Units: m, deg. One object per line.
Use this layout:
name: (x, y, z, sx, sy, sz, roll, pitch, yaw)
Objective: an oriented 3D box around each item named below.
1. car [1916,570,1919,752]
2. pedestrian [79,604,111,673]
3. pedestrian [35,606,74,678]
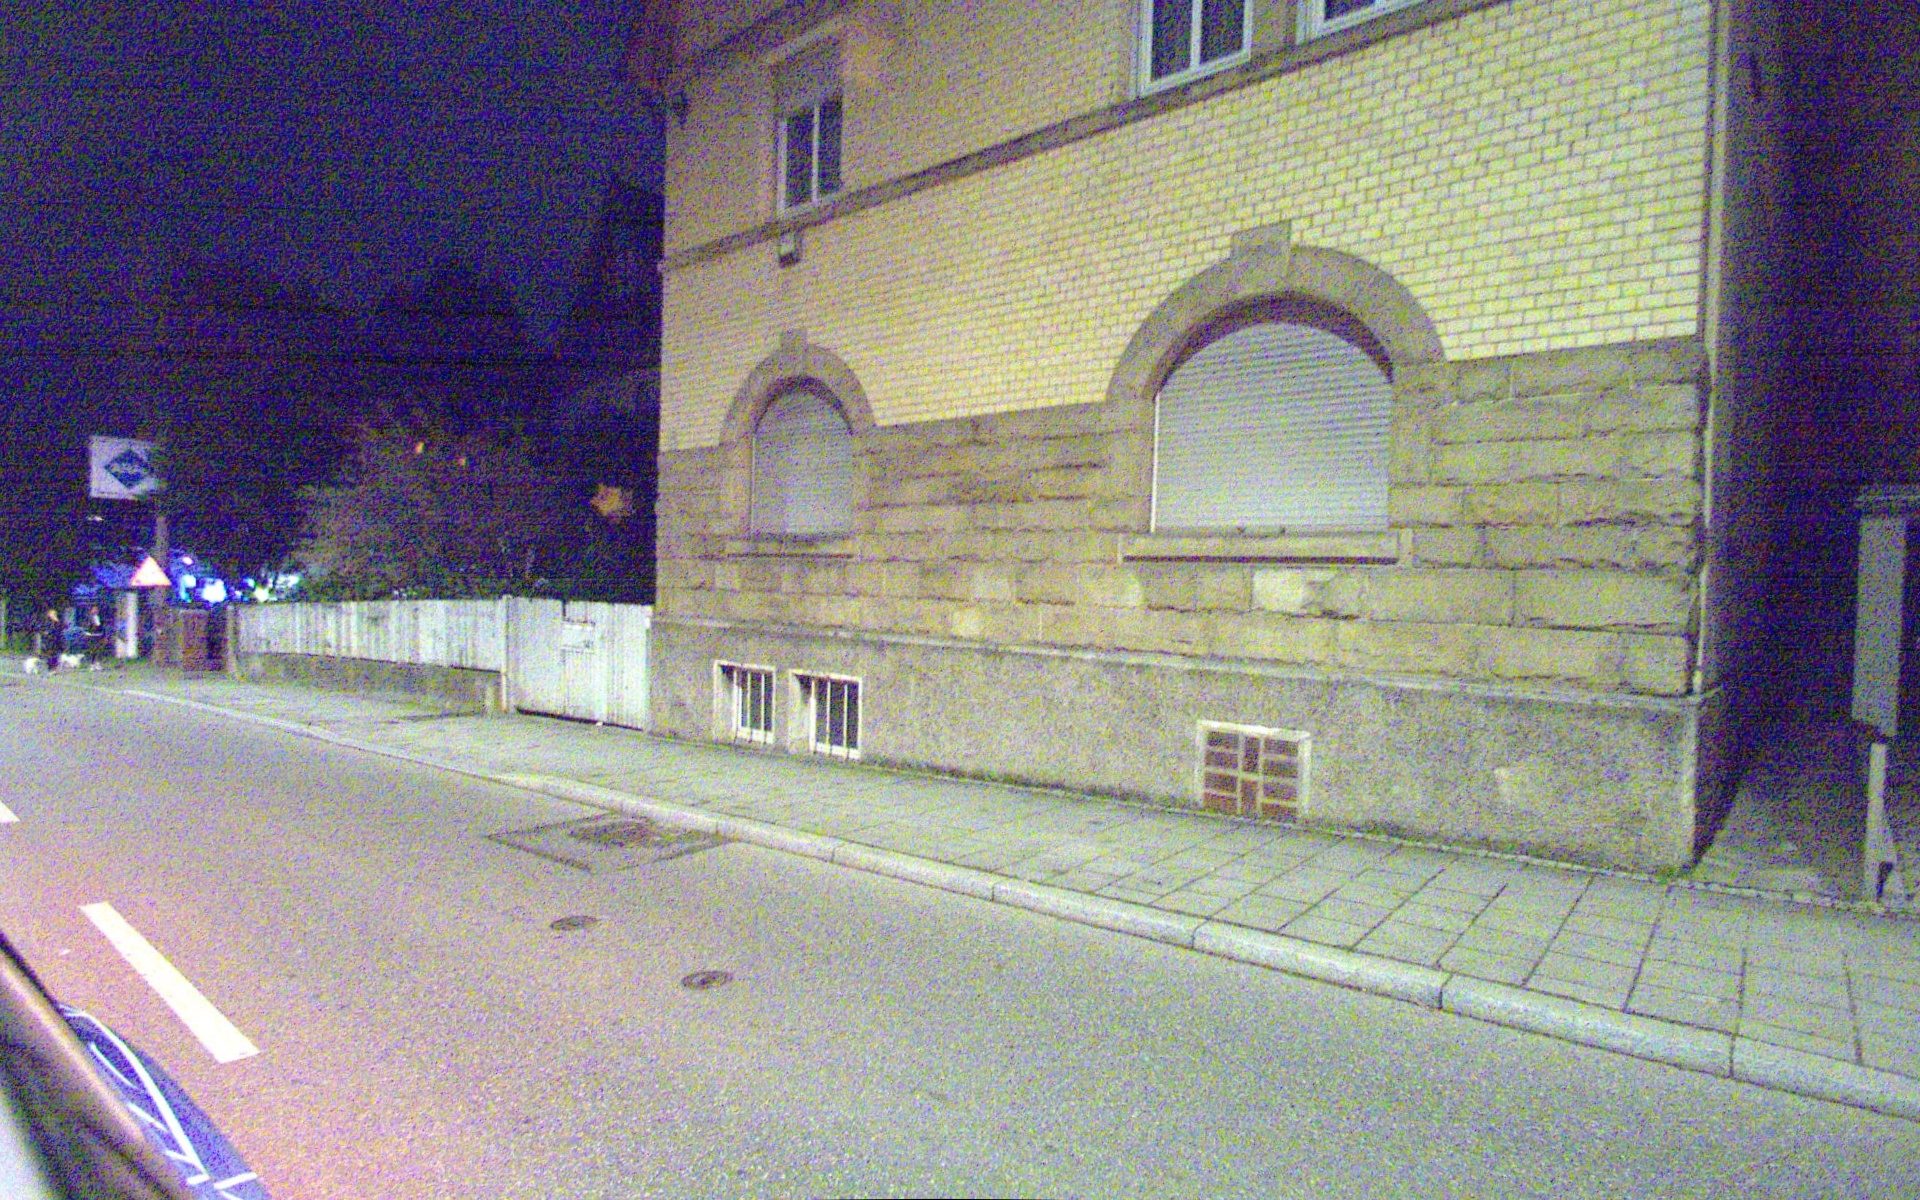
car: (7.220, 0.539, 6.222, 1.718, 1.452, 3.612, -1, 1, 40)
pedestrian: (-22.407, 0.984, 26.213, 0.500, 1.773, 0.557, -1, 0, 41)
pedestrian: (-22.752, 1.031, 25.419, 0.500, 1.773, 0.664, -1, 0, 41)
